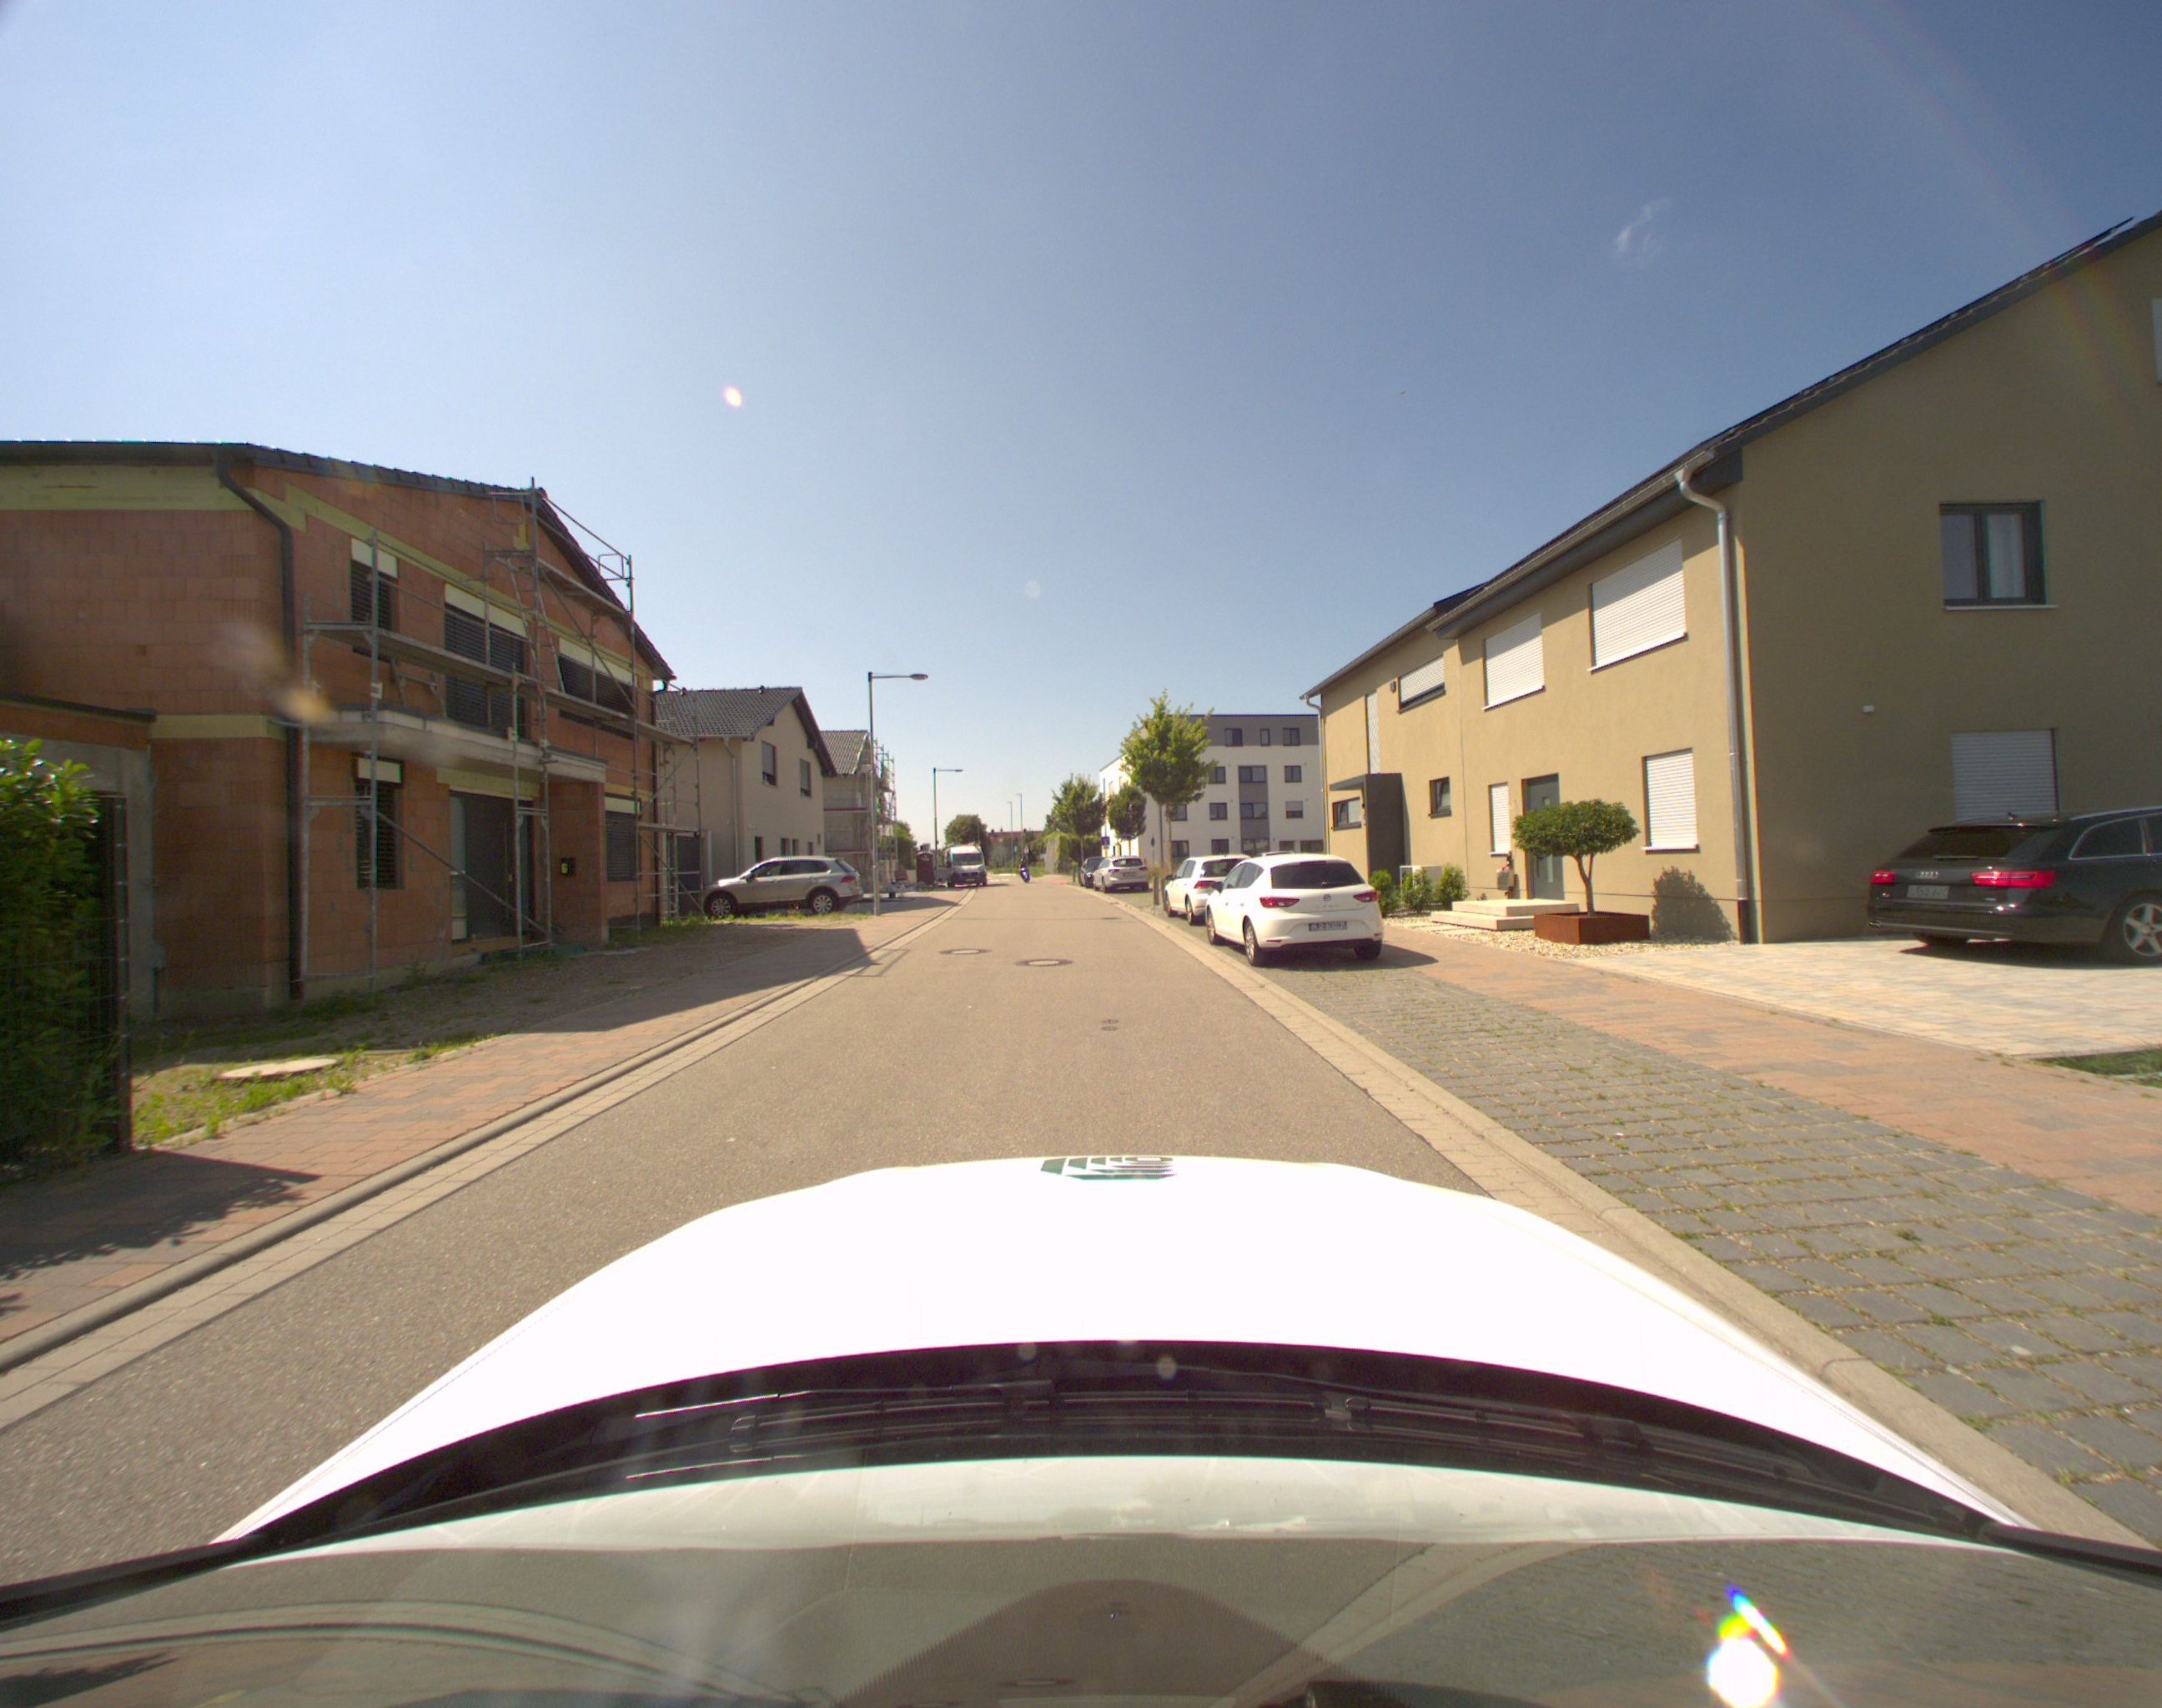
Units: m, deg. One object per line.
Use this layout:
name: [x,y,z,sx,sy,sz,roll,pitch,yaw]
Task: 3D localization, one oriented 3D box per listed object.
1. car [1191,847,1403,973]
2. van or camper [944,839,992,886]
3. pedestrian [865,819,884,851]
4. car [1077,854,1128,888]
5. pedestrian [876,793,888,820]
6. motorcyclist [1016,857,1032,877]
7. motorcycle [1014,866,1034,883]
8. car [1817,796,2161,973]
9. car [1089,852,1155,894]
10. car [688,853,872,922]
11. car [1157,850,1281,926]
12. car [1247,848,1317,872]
car: [3.001,0.707,12.397,1.810,1.456,4.560,-3,0,-2]
van or camper: [-6.854,0.547,48.913,2.275,2.553,6.339,-2,-1,-13]
pedestrian: [-11.105,-1.005,43.882,0.571,1.680,0.753,-5,-3,41]
car: [0.989,0.804,40.701,1.915,1.469,5.131,-3,0,-5]
pedestrian: [-11.959,-2.852,48.890,0.561,1.500,0.746,-2,-3,-8]
motorcyclist: [-3.651,0.851,52.212,0.925,1.222,0.801,-2,0,-11]
motorcycle: [-3.686,1.326,52.462,0.956,1.035,2.427,-2,0,-10]
car: [10.900,0.170,8.358,4.873,1.426,1.999,-4,0,-1]
car: [1.655,0.745,34.682,1.916,1.511,5.282,-3,0,-6]
car: [-8.307,0.895,22.842,4.420,1.612,1.995,-3,0,-7]
car: [3.006,0.687,18.772,1.776,1.426,4.508,-3,0,-4]
car: [13.638,0.426,55.289,4.157,1.435,1.877,-2,-1,-9]
